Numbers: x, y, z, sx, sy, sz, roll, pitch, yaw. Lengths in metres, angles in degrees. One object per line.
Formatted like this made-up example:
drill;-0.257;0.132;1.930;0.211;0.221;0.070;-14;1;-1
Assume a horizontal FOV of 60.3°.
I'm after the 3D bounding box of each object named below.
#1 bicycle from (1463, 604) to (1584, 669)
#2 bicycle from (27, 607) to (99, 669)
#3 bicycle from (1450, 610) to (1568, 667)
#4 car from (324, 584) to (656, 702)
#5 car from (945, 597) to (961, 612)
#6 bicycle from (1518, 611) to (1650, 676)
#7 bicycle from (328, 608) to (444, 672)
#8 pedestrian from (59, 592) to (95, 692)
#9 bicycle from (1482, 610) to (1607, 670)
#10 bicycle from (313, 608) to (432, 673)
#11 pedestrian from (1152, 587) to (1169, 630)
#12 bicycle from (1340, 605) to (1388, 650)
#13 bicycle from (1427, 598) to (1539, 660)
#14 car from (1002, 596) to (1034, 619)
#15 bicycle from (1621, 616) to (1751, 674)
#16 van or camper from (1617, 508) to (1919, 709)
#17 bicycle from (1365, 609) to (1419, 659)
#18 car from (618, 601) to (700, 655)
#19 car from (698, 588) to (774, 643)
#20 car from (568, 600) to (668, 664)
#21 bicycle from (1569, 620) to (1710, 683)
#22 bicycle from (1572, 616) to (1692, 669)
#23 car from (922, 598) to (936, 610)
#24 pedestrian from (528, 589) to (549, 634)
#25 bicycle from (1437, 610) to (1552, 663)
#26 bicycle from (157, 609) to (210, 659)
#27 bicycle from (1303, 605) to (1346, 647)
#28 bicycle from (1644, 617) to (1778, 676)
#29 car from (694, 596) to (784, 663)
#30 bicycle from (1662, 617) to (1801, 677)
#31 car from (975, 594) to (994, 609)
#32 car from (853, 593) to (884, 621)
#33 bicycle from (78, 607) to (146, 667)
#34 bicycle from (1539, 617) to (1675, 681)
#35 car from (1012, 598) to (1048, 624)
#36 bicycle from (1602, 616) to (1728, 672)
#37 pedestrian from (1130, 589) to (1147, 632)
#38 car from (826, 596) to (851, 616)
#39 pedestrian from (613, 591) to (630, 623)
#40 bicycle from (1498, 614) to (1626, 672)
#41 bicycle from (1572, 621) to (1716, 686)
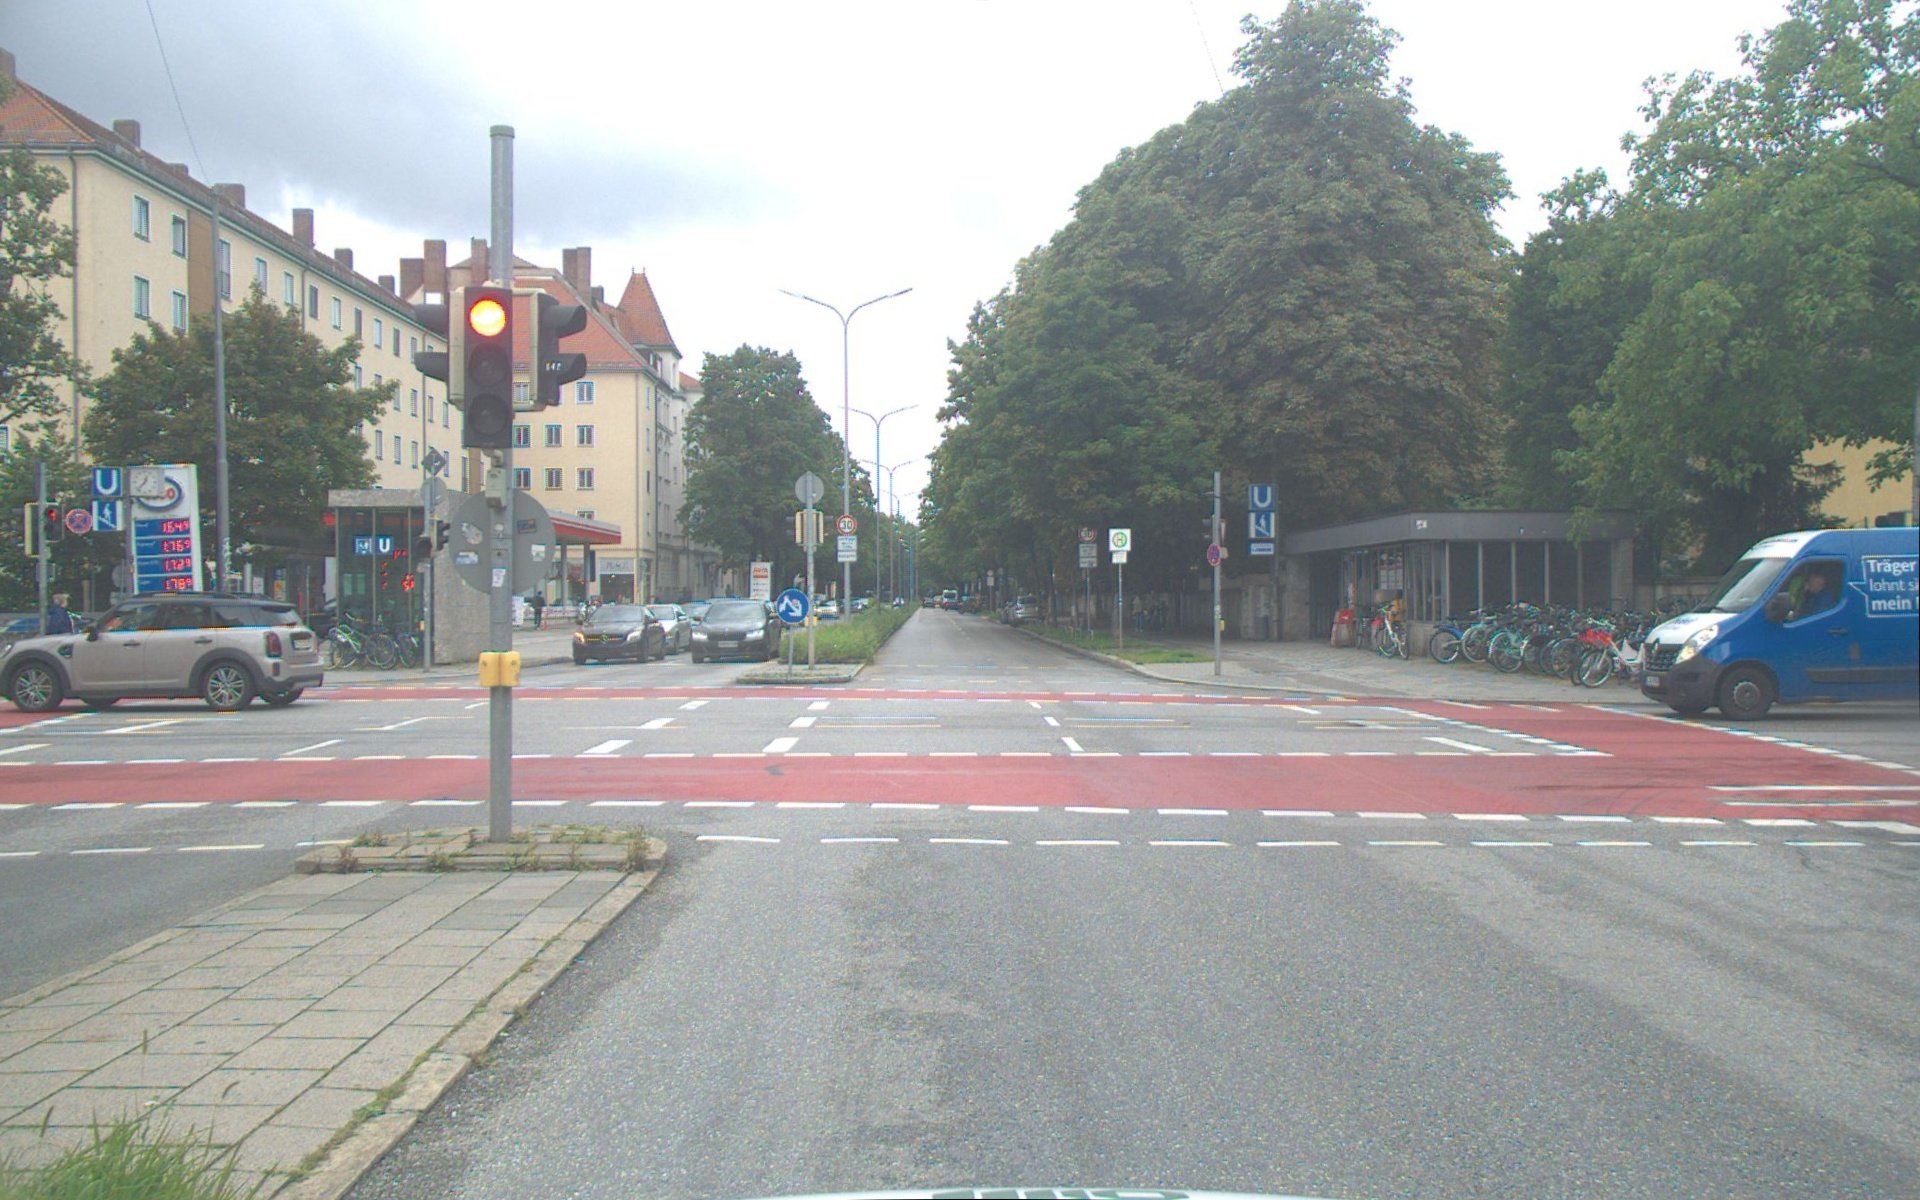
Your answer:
bicycle;10.688;0.690;31.422;2.097;1.199;0.603;0;0;7
bicycle;-19.058;0.792;35.184;0.596;1.257;2.183;0;0;-7
bicycle;10.645;0.752;32.123;2.097;1.080;0.603;0;0;7
car;-6.374;0.566;22.773;4.084;1.540;1.695;0;0;-2
car;-0.854;0.547;197.255;1.884;1.713;3.999;0;0;-1
bicycle;11.023;0.769;29.247;2.097;1.120;0.603;0;0;7
bicycle;-12.292;0.855;35.452;2.238;1.327;0.694;0;0;0
pedestrian;-15.527;0.727;29.097;0.527;1.725;0.572;0;0;-27
bicycle;10.831;0.739;30.688;2.097;1.105;0.603;0;0;7
bicycle;-12.301;0.843;34.661;2.225;1.327;0.704;0;0;0
pedestrian;8.034;0.319;66.326;0.663;1.712;0.683;0;0;5
bicycle;9.505;0.633;38.953;0.545;1.032;2.014;0;0;-3
bicycle;10.655;0.592;33.723;2.097;1.240;0.603;0;0;7
car;3.489;0.439;99.742;1.708;1.387;3.805;0;0;-1
bicycle;13.377;0.824;30.495;2.097;1.032;0.634;0;0;7
van or camper;11.783;0.101;21.800;5.436;2.512;2.068;0;0;3
bicycle;9.439;0.733;36.215;0.545;1.032;2.014;0;0;-3
car;-8.735;0.792;48.275;1.724;1.486;3.999;0;0;-1
car;-6.467;0.430;48.083;1.724;1.519;3.999;0;0;-1
car;-8.458;0.763;41.208;1.724;1.486;3.999;0;0;-1
bicycle;11.403;0.866;27.794;2.097;1.032;0.634;0;0;7
bicycle;13.337;0.837;32.860;2.097;1.032;0.634;0;0;7
car;-4.347;0.543;232.133;1.819;1.713;3.999;0;0;-1
pedestrian;-19.438;0.551;76.237;0.715;2.049;0.834;1;-1;-1
bicycle;10.657;0.718;33.005;2.097;1.032;0.603;0;0;7
bicycle;-18.842;0.812;40.163;0.596;1.165;1.962;0;0;-7
bicycle;9.276;0.650;42.157;0.545;1.032;2.014;0;0;-3
bicycle;13.471;0.824;29.703;2.097;1.032;0.634;0;0;7
car;-5.331;0.679;40.295;1.724;1.519;3.999;0;0;-1
bicycle;13.480;0.819;28.935;2.097;1.032;0.634;0;0;7
car;2.401;0.156;160.440;1.708;1.452;3.898;0;0;-1
car;-4.714;0.331;85.552;1.438;1.423;3.699;0;0;-1
bicycle;-18.450;0.789;36.022;0.596;1.257;2.183;0;0;-7
bicycle;11.171;0.841;28.595;2.097;1.089;0.603;0;0;7
car;3.804;0.577;89.785;1.708;1.387;3.805;0;0;-1
bicycle;13.309;0.825;31.279;2.097;1.032;0.634;0;0;7
pedestrian;7.131;0.401;66.164;0.663;1.712;0.683;0;0;5
car;-9.270;0.412;126.337;1.724;1.486;3.999;0;0;-1
pedestrian;-17.447;0.350;85.281;0.682;1.666;0.738;0;0;-1
bicycle;10.884;0.775;29.959;2.097;1.032;0.603;0;0;7
bicycle;11.219;0.879;27.166;2.097;1.032;0.603;0;0;7
